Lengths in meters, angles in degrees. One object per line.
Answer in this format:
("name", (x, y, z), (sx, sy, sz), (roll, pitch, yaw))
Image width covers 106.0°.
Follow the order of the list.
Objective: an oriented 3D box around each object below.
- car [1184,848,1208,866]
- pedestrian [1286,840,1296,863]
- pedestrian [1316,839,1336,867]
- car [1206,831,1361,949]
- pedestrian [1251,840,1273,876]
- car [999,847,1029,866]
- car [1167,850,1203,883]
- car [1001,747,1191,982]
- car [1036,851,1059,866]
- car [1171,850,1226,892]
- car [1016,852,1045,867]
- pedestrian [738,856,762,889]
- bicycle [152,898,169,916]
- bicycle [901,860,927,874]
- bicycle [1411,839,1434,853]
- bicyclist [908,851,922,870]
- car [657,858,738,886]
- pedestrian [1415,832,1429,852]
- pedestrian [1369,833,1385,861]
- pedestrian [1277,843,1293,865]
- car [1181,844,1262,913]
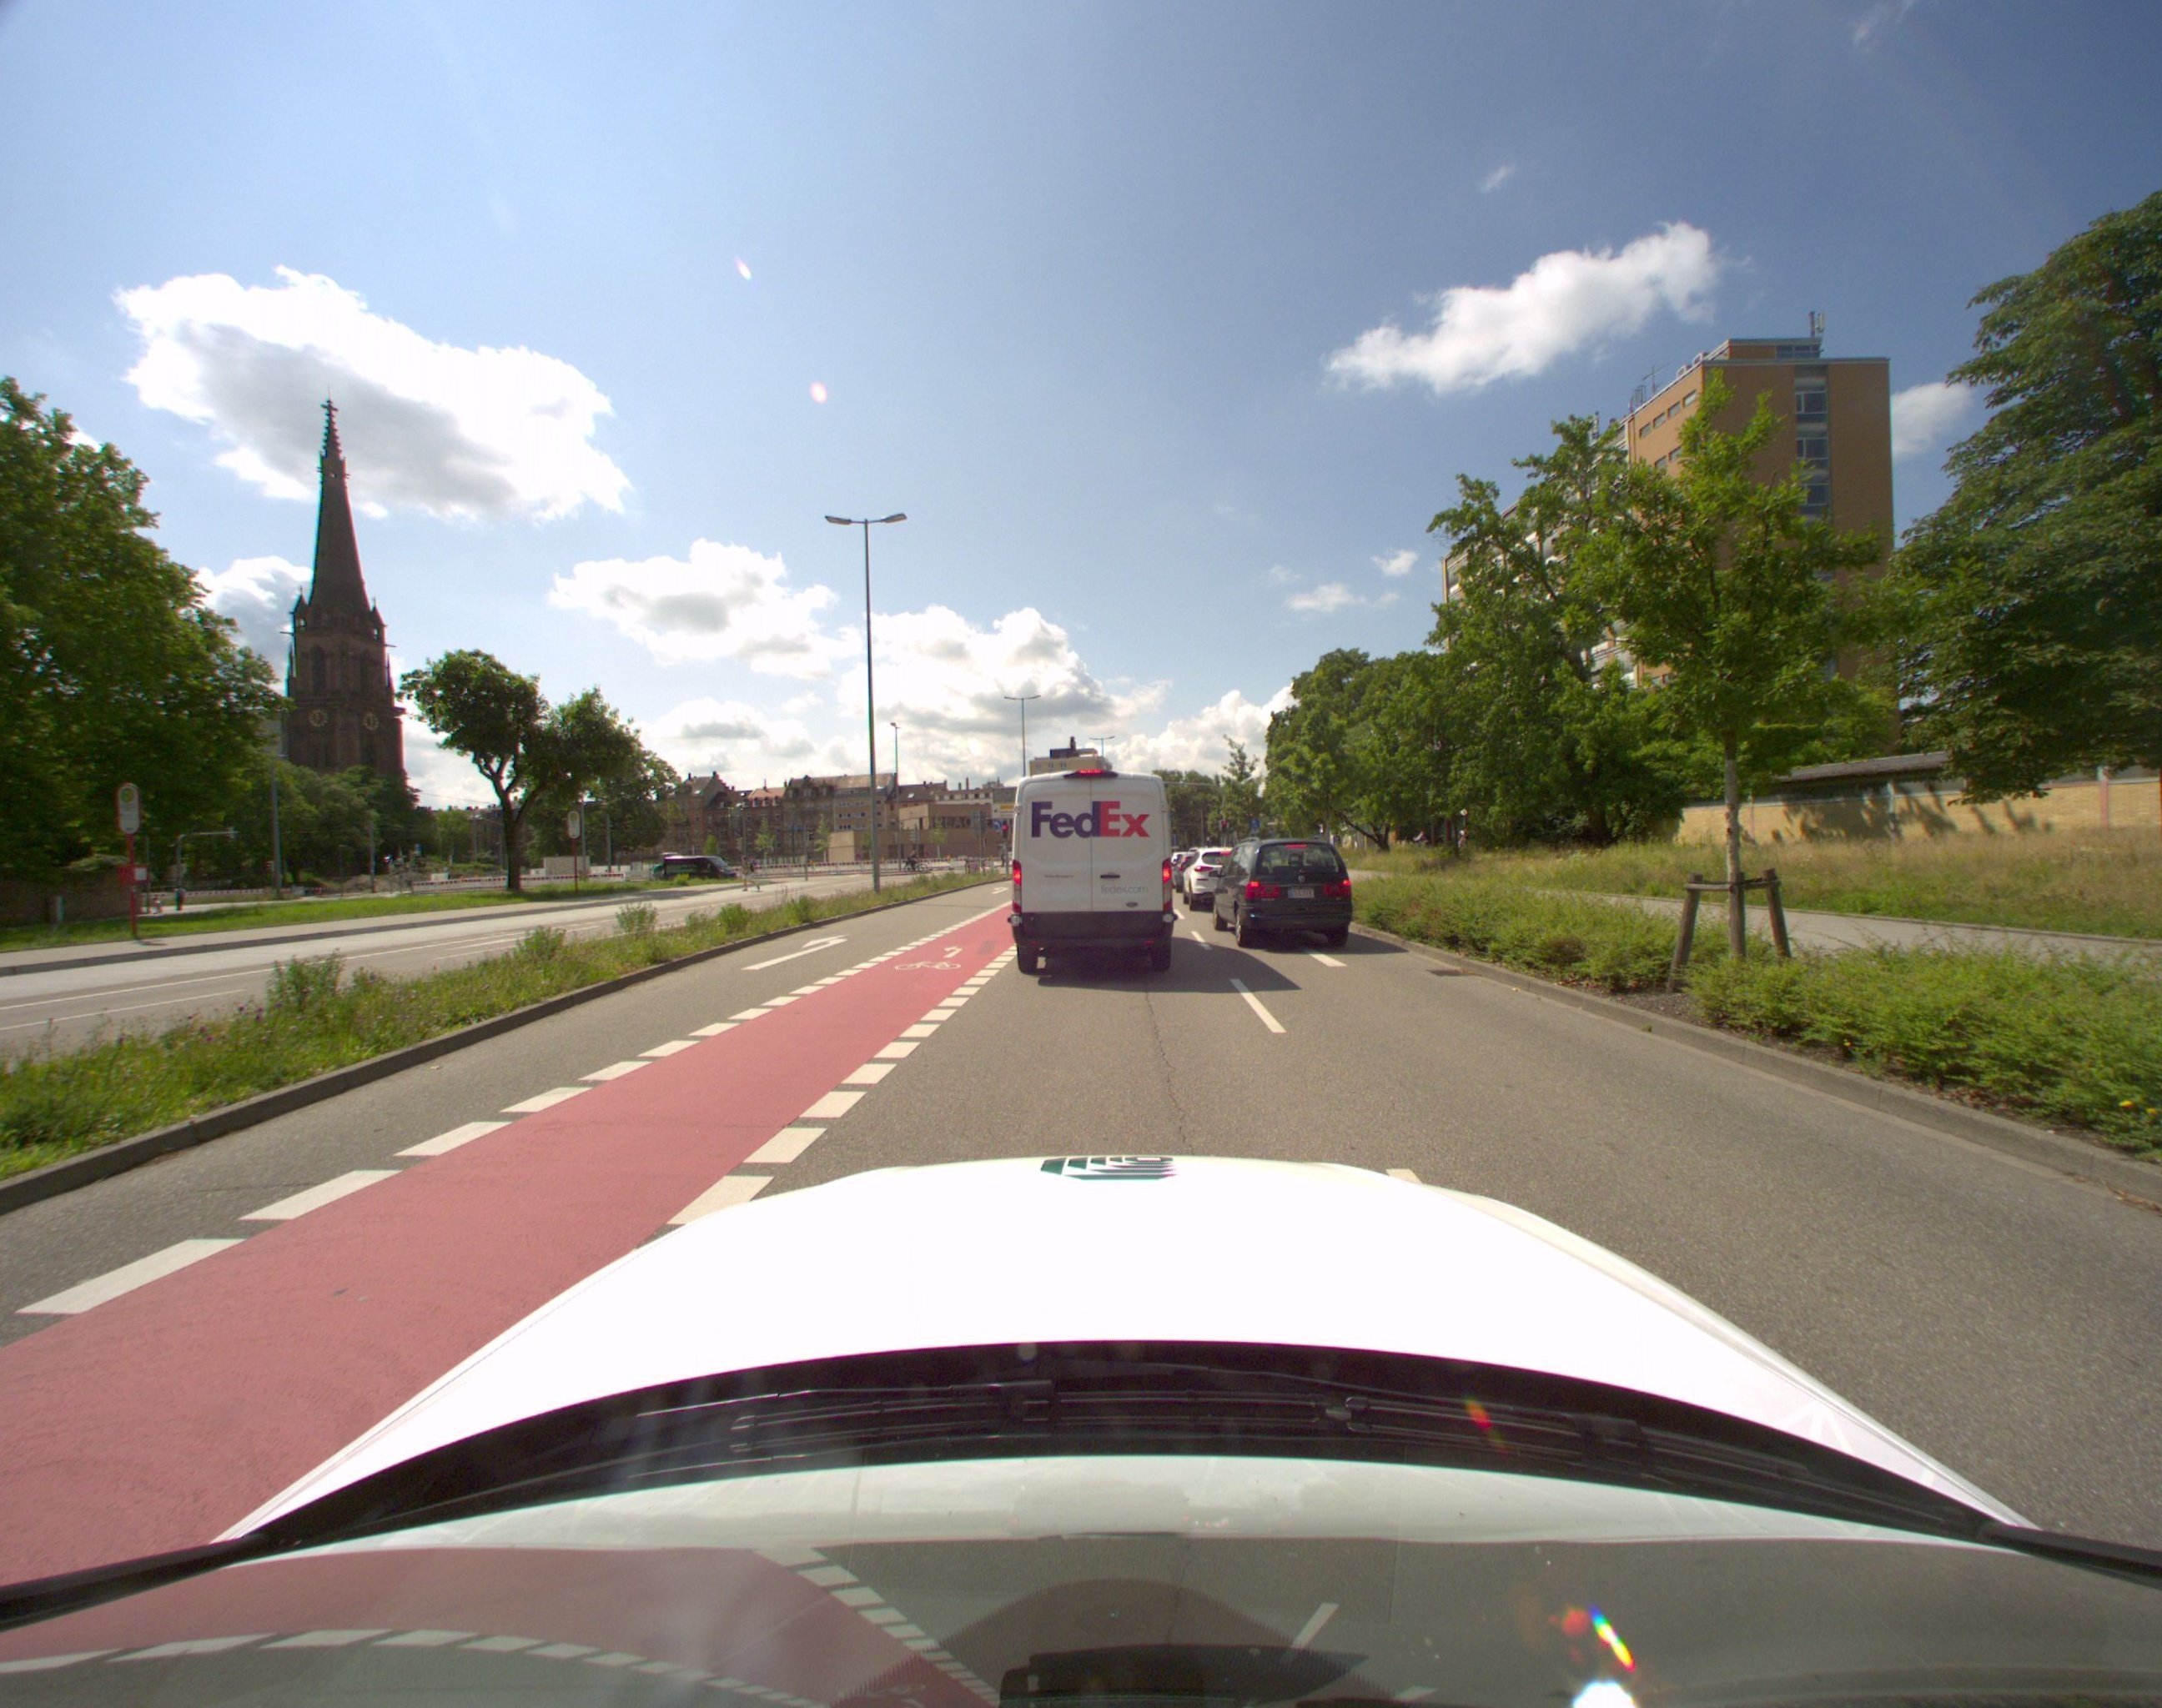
("car", (12.103, 0.284, 85.750), (1.979, 1.794, 4.388), (-2, 0, 14))
("pedestrian", (16.912, -0.203, 65.680), (0.572, 1.892, 0.679), (-2, 0, 2))
("pedestrian", (13.683, -0.056, 45.451), (0.841, 1.539, 0.835), (-2, 0, 2))
("car", (3.376, 0.524, 14.443), (1.805, 1.734, 4.391), (-1, 0, 2))
("pedestrian", (9.788, 0.215, 44.078), (0.947, 1.892, 0.774), (-2, 0, 2))
("car", (-7.663, 0.294, 93.603), (1.978, 2.013, 4.018), (-2, 0, 17))
("car", (4.813, 0.554, 38.048), (1.478, 1.428, 3.437), (-2, 0, 4))
("car", (0.103, 0.109, 12.219), (2.135, 2.652, 5.700), (-1, 0, -2))
("car", (-4.061, 0.536, 98.263), (1.867, 1.652, 4.012), (-2, 0, 11))
("car", (4.444, 0.602, 31.230), (1.789, 1.461, 3.843), (-2, 0, 4))
("car", (-5.670, 0.558, 92.122), (1.886, 1.585, 4.018), (-2, 0, 17))
("pedestrian", (-16.209, 0.914, 39.847), (0.548, 1.560, 0.881), (-2, 0, 44))
("bicycle", (-49.787, 2.845, 44.048), (1.644, 0.902, 0.548), (-2, 0, 44))
("bicycle", (-13.084, 1.010, 63.958), (1.917, 1.030, 0.547), (-2, 0, -5))
("bicycle", (24.995, -0.560, 59.629), (1.557, 0.955, 0.488), (-2, 0, 21))
("bicyclist", (-13.050, 0.508, 63.962), (0.966, 1.474, 0.550), (-2, 0, -5))
("car", (-28.556, 1.305, 60.762), (4.994, 1.879, 1.928), (-2, 0, -1))
("pedestrian", (24.980, -0.892, 59.624), (0.891, 1.472, 0.488), (-2, 0, 21))
("pedestrian", (22.395, -0.553, 61.524), (0.739, 2.058, 0.843), (-2, 0, -14))
("pedestrian", (13.130, -0.011, 52.439), (0.841, 1.389, 0.741), (-2, 0, 2))
("car", (3.757, 0.606, 22.439), (1.789, 1.687, 4.005), (-2, 0, 4))
